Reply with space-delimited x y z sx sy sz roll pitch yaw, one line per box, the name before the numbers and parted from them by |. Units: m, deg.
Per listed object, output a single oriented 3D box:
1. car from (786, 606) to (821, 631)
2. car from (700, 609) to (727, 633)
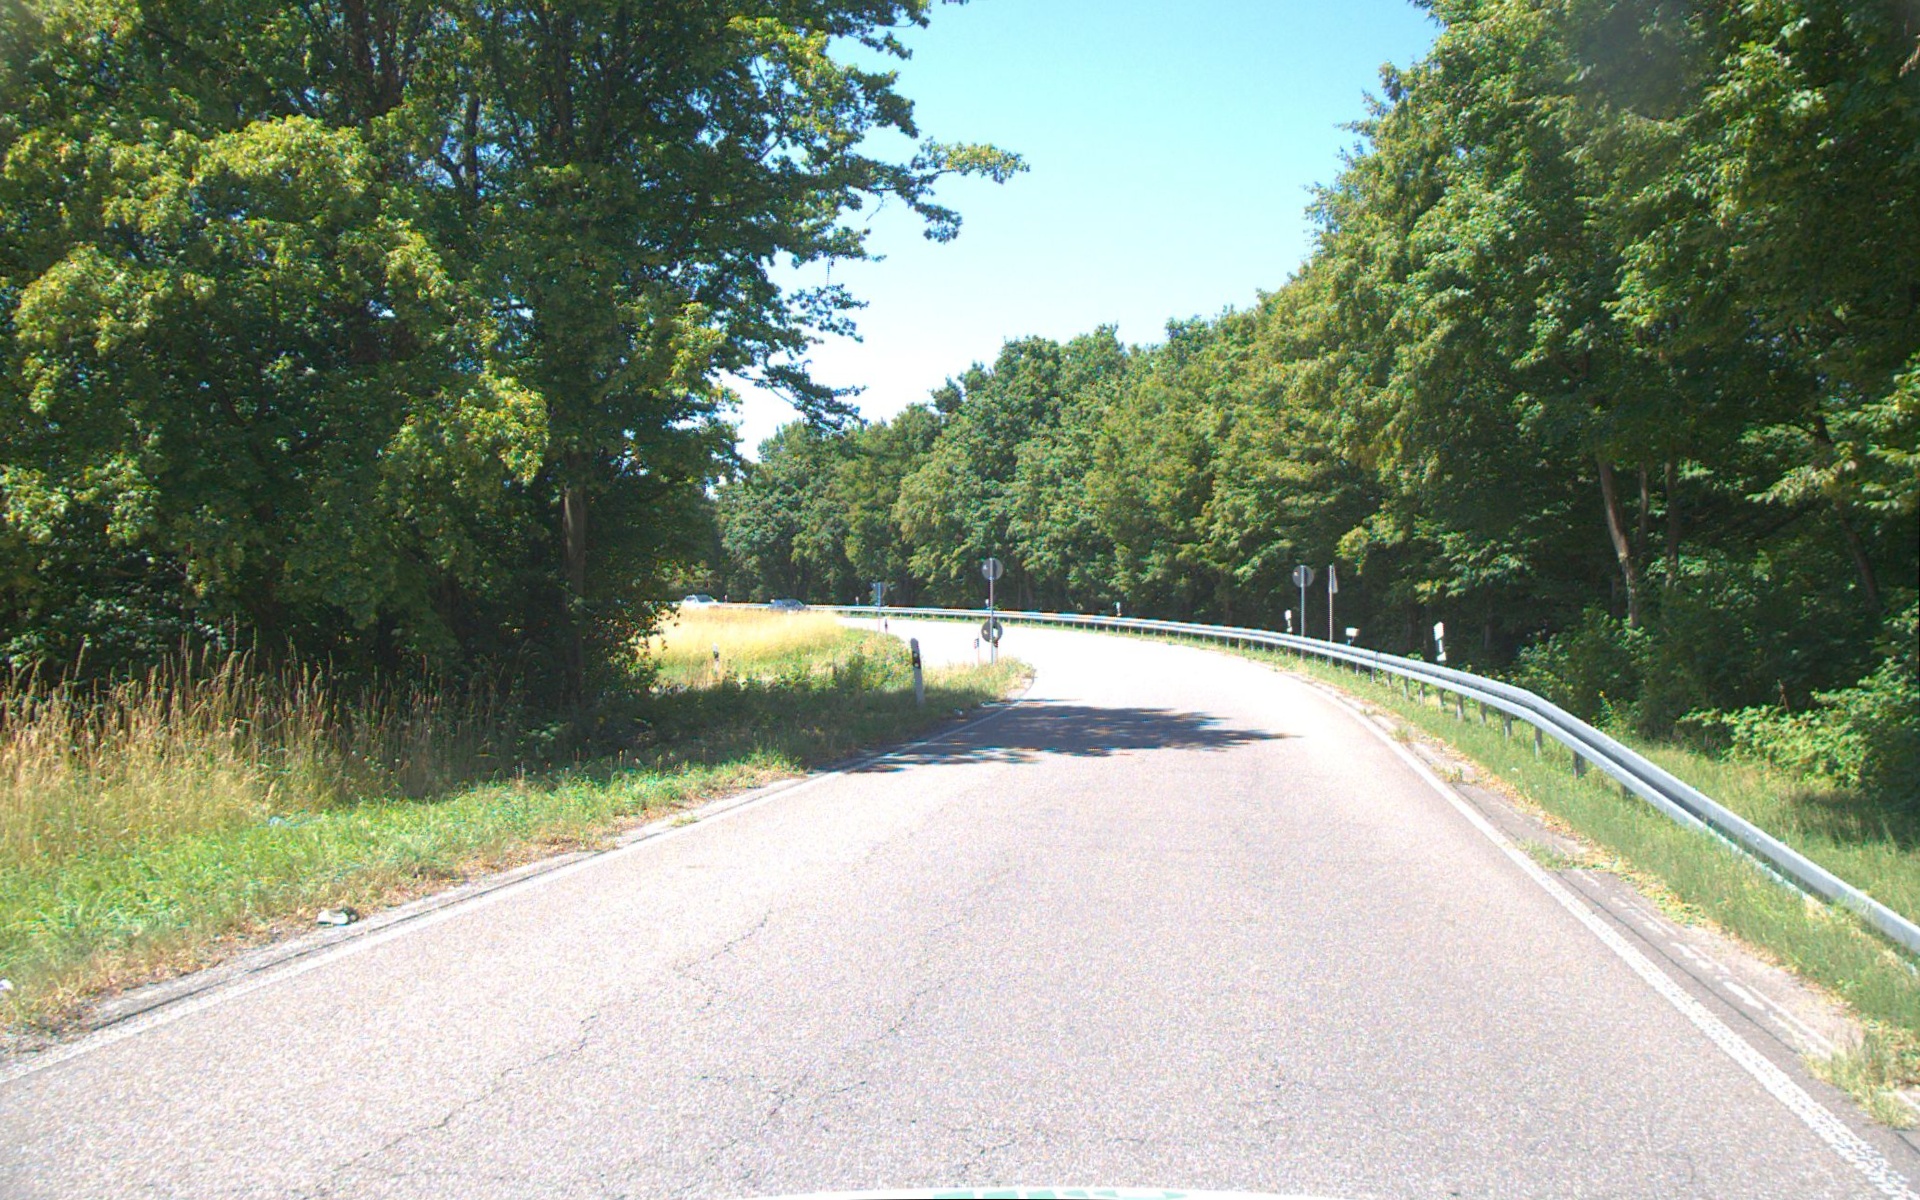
car | -10.561 1.241 111.492 1.771 1.533 4.644 -3 0 -12
car | -18.840 1.602 126.589 1.788 1.618 4.211 -4 0 -7
